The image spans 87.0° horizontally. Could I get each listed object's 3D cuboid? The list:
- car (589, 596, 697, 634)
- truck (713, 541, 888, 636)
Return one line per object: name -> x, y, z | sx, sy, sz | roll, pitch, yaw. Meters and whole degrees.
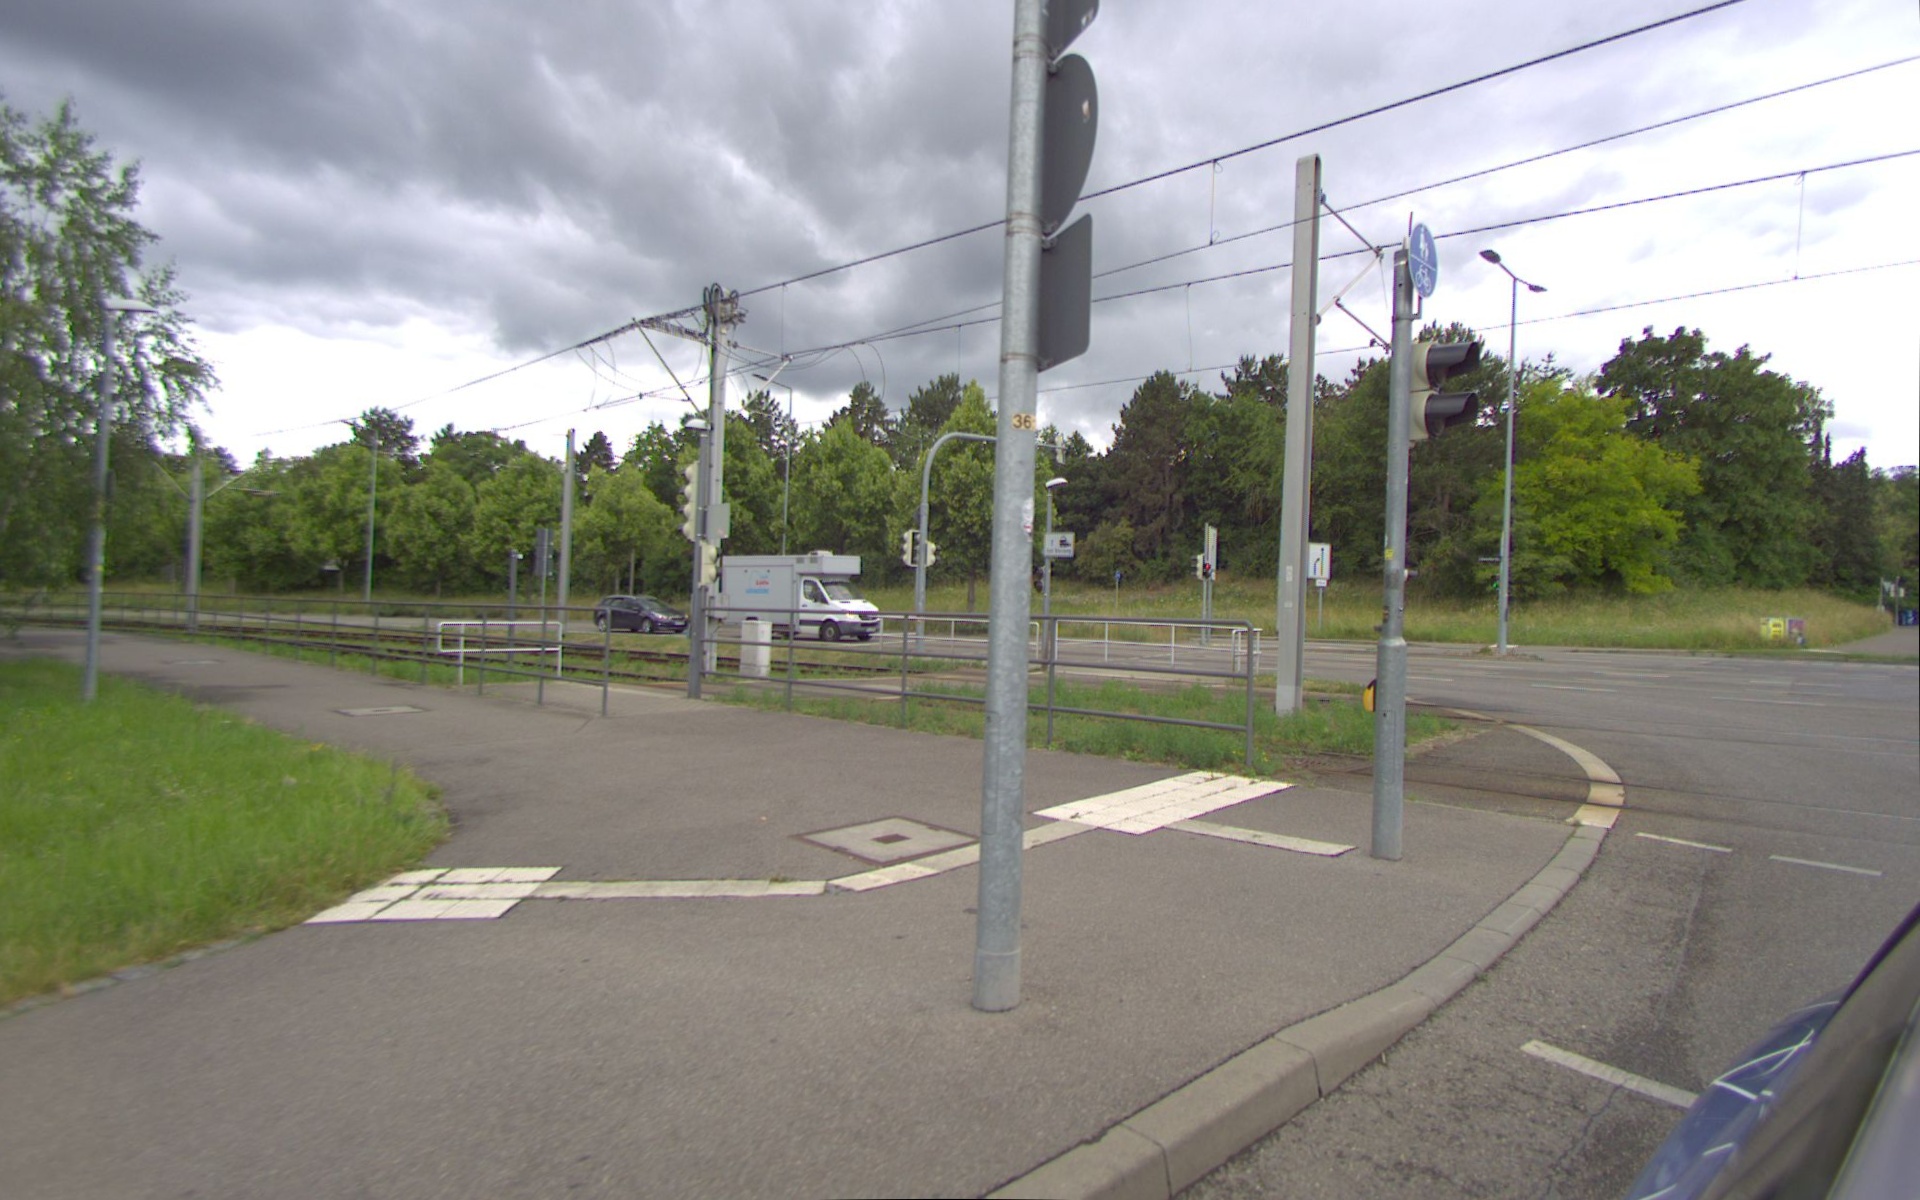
car -> -12.556, 0.561, 40.000 | 3.967, 1.416, 1.978 | 0, 0, 31
truck -> -5.613, -0.434, 35.249 | 6.229, 3.047, 2.087 | 0, 3, 34
